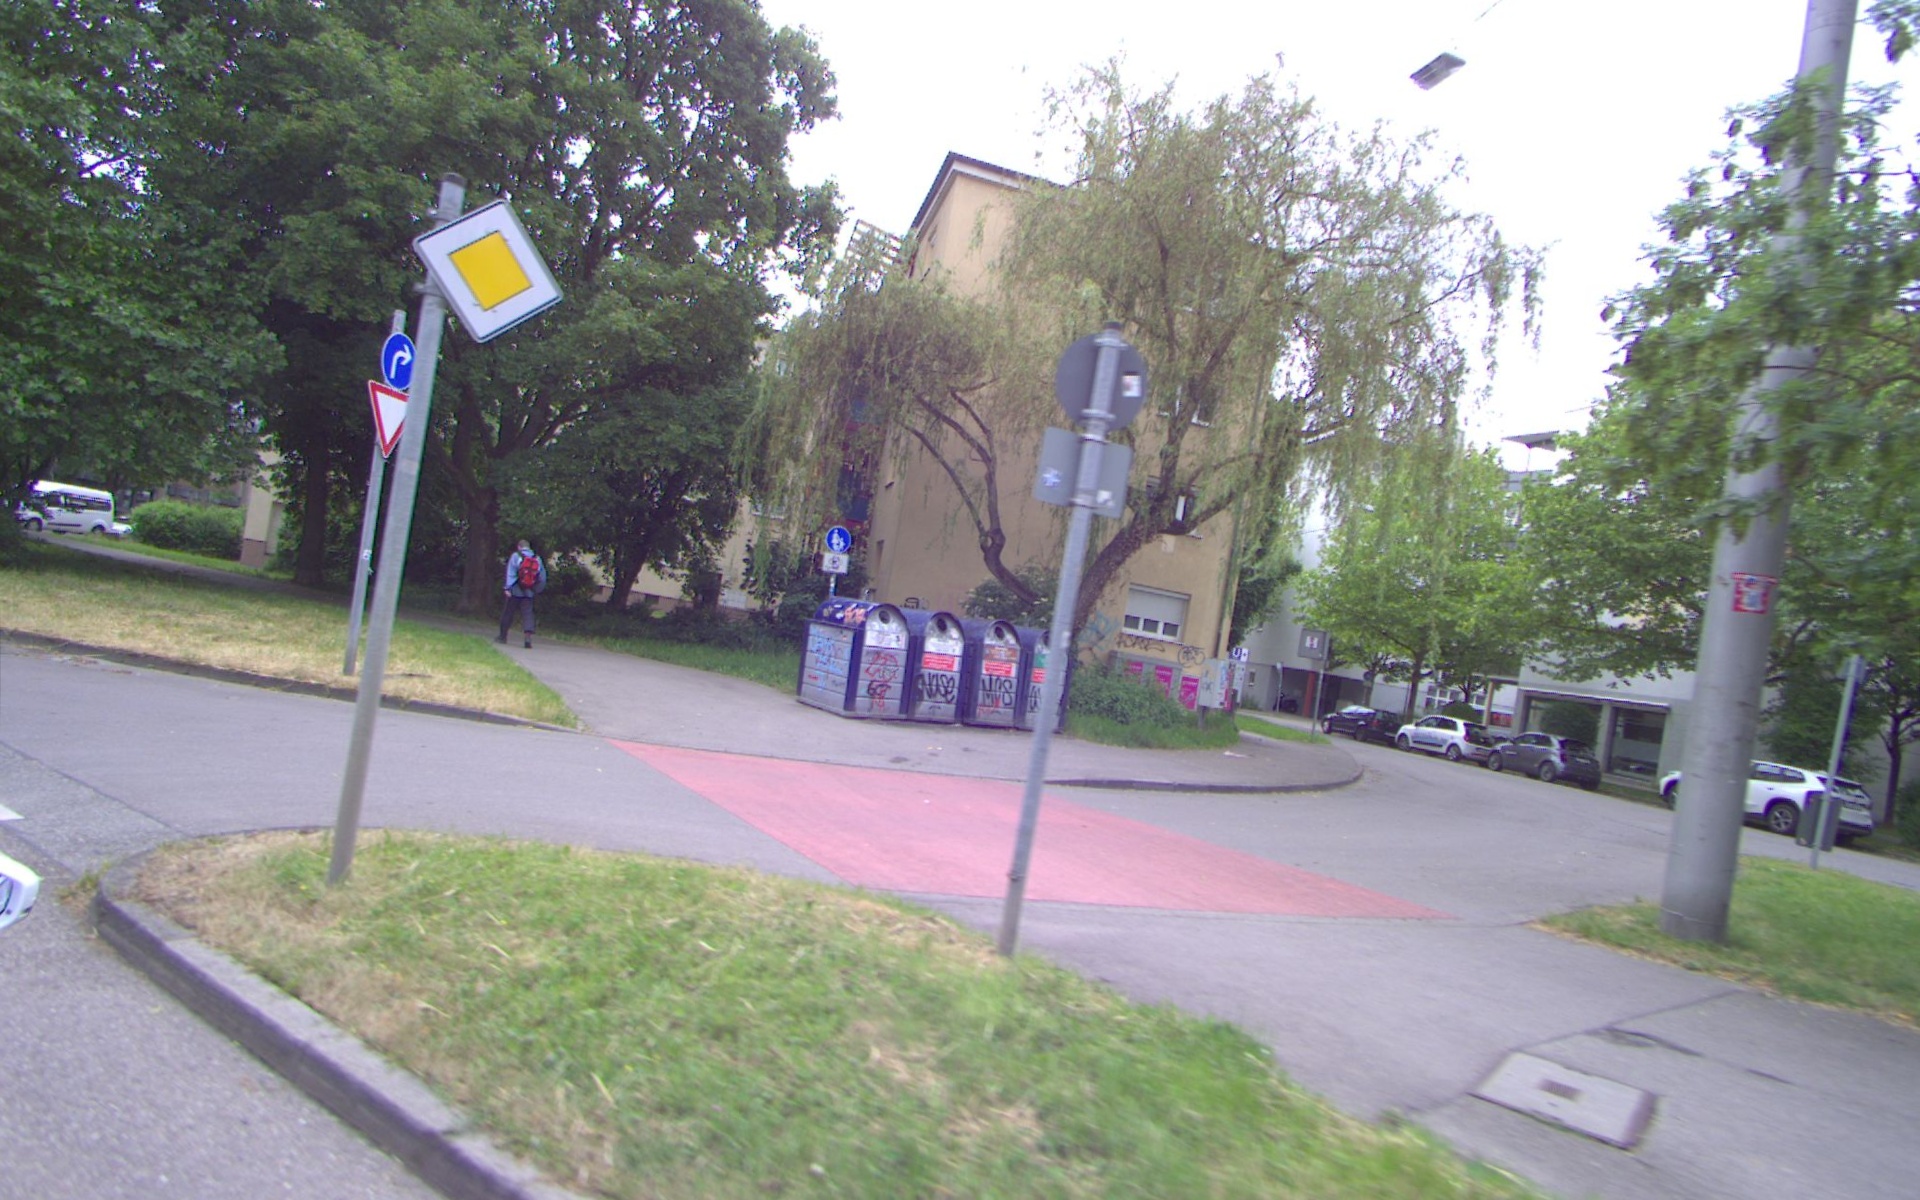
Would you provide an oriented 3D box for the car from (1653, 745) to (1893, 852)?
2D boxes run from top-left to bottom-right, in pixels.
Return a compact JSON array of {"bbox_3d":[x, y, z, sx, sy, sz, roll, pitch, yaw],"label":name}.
[{"bbox_3d":[19.593,4.740,24.522,1.757,1.614,4.242,11,-3,-12],"label":"car"}]

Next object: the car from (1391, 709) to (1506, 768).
[{"bbox_3d":[17.705,5.006,36.615,1.628,1.440,3.430,13,-4,-20],"label":"car"}]

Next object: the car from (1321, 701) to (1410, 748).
[{"bbox_3d":[16.661,5.096,41.478,1.552,1.368,3.439,12,-4,-12],"label":"car"}]

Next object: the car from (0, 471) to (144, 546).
[{"bbox_3d":[-41.383,-4.154,46.856,2.101,2.320,5.391,12,-4,-2],"label":"car"}]

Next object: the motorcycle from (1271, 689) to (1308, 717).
[{"bbox_3d":[21.370,6.679,65.258,1.933,1.383,0.750,12,-3,-8],"label":"motorcycle"}]

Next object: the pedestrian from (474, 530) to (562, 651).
[{"bbox_3d":[-7.623,-0.166,17.348,0.920,1.896,1.006,5,4,-44],"label":"pedestrian"}]

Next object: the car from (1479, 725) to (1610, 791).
[{"bbox_3d":[18.542,4.992,32.091,1.623,1.389,3.441,12,-4,-10],"label":"car"}]
